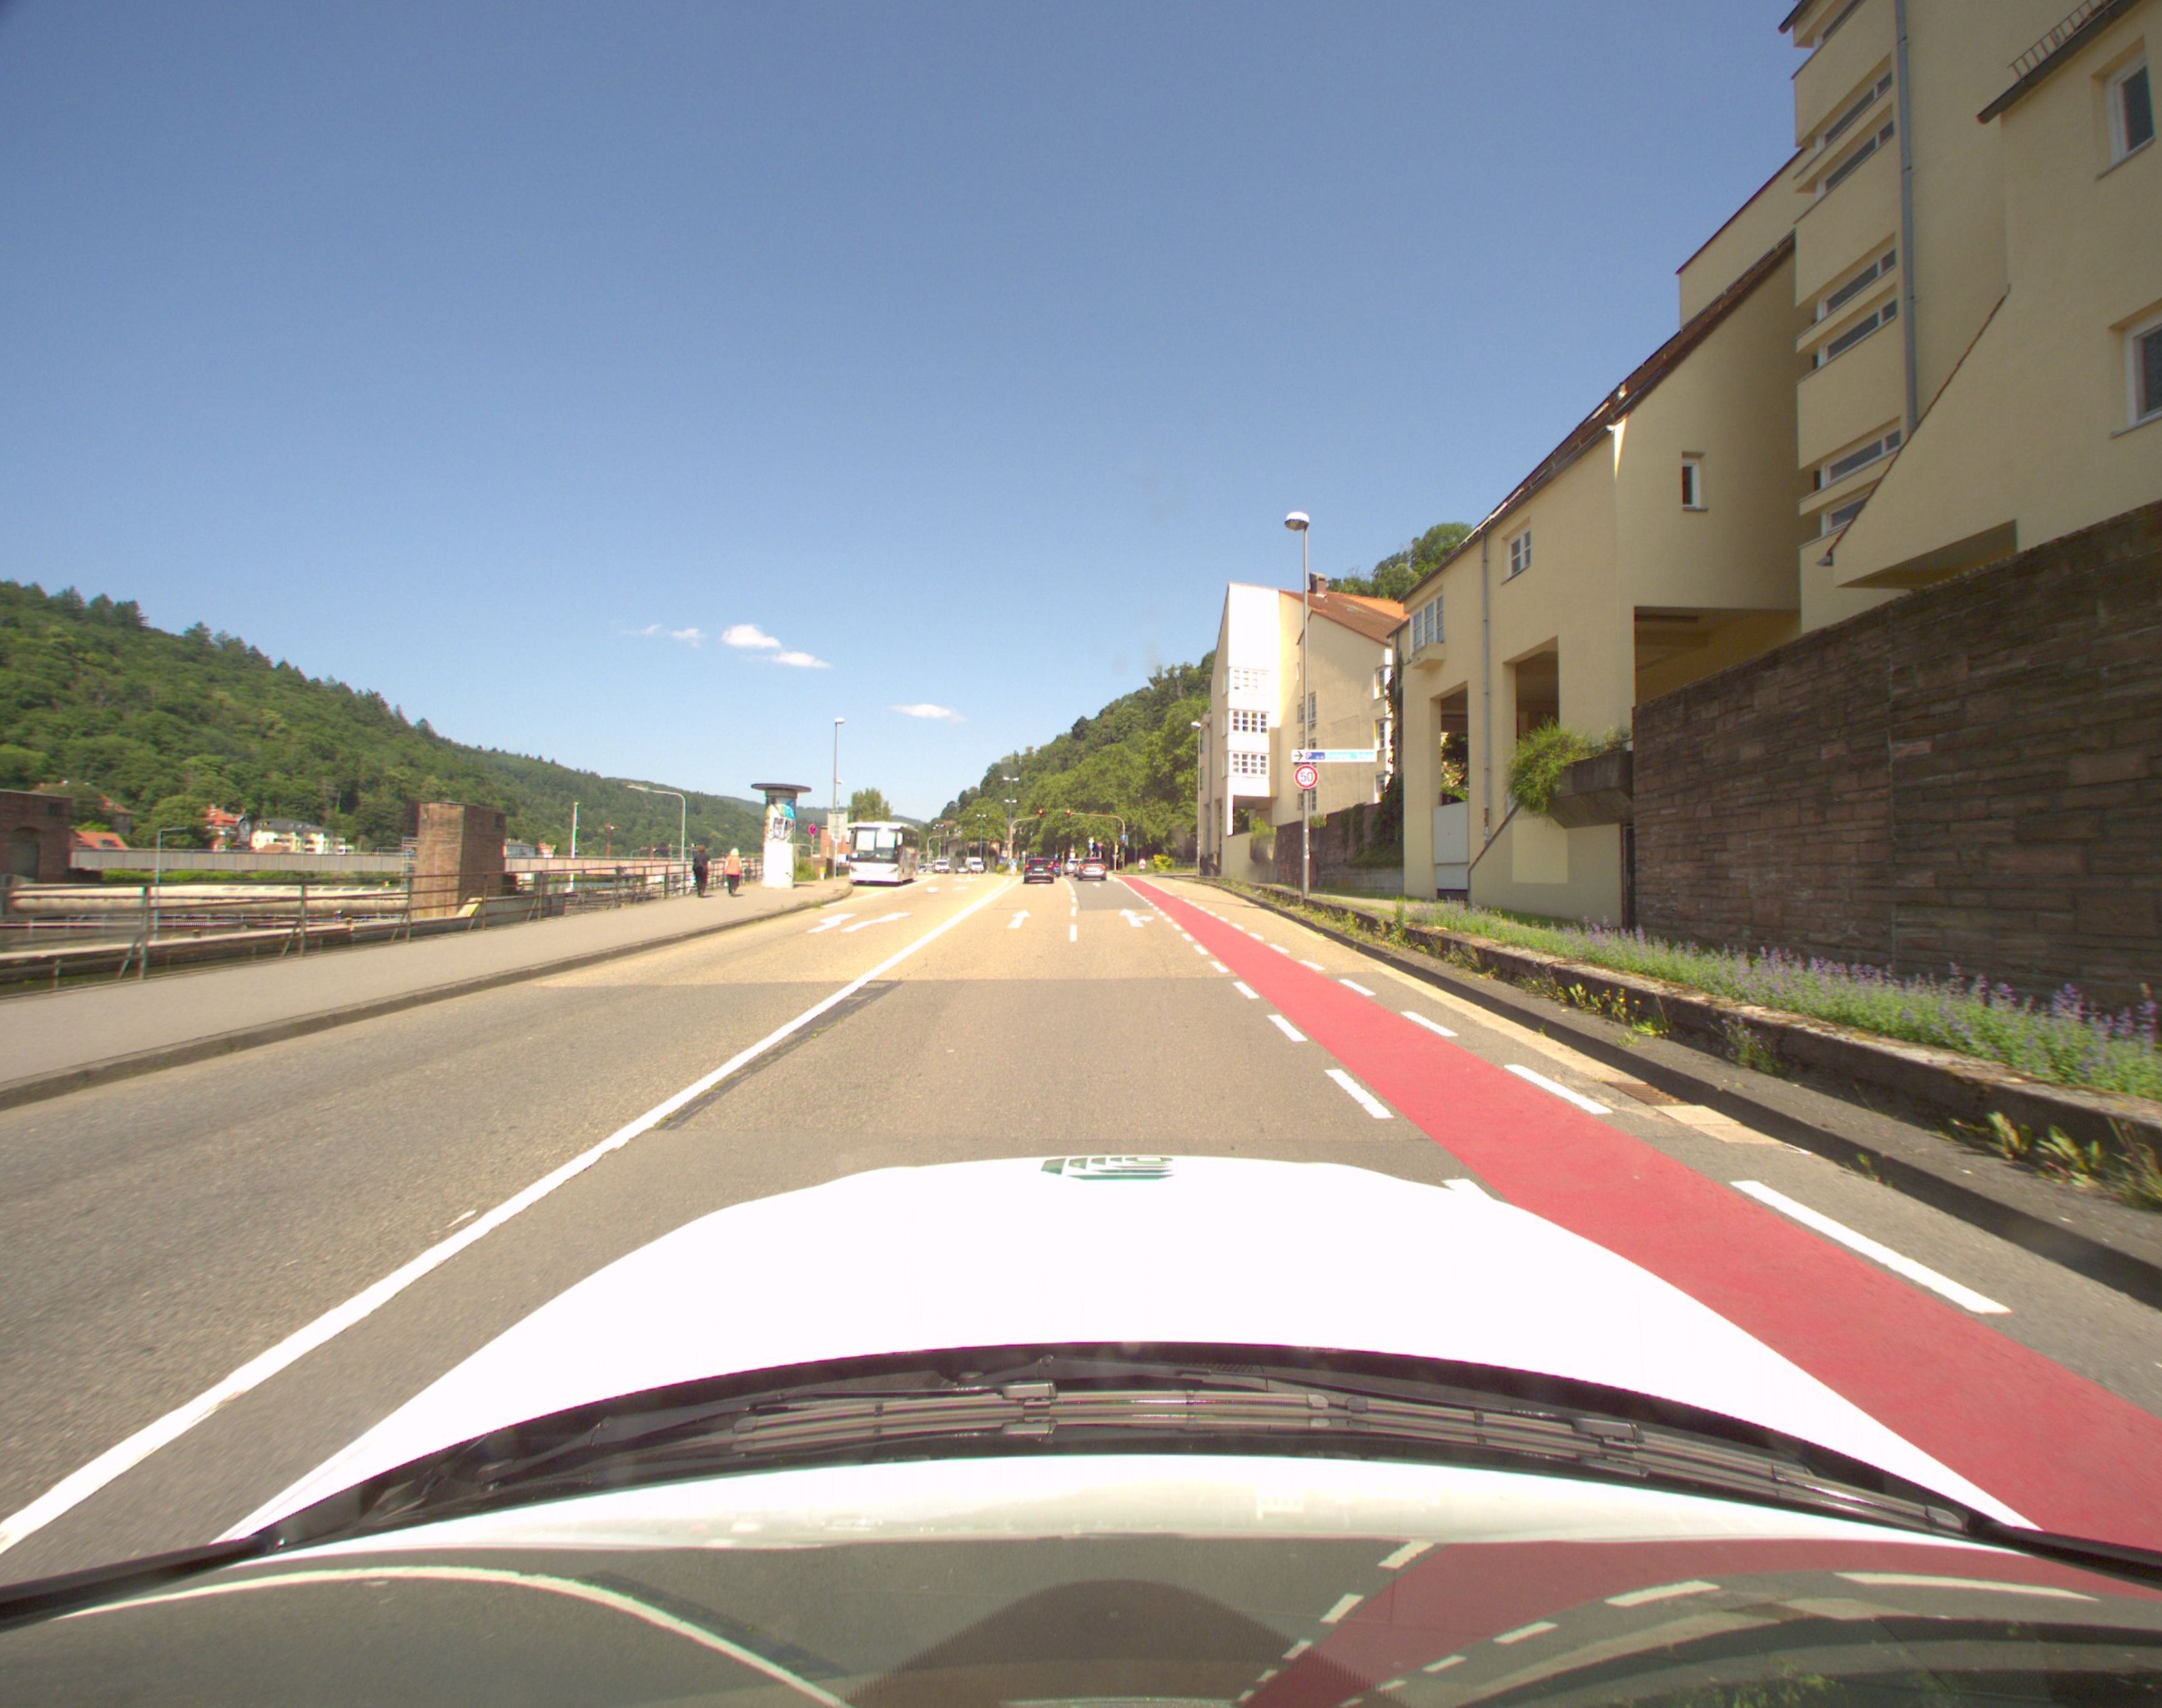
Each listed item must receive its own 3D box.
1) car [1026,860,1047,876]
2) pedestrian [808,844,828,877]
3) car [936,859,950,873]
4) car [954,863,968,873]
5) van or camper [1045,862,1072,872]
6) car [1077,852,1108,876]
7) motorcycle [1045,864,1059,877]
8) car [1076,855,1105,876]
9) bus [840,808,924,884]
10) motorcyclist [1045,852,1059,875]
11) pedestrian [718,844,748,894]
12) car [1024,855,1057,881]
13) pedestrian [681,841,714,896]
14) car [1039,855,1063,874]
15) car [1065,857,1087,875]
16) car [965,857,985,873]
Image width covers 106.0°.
[{"bbox_3d":[-4.075,1.282,74.952,1.863,1.359,3.994,-1,0,-4],"label":"car"},{"bbox_3d":[-14.580,0.387,45.176,0.891,1.796,1.038,0,-1,-8],"label":"pedestrian"},{"bbox_3d":[-21.708,1.829,127.961,2.214,2.078,5.026,-1,0,-10],"label":"car"},{"bbox_3d":[-18.999,2.212,128.889,1.995,1.432,4.149,-1,0,-13],"label":"car"},{"bbox_3d":[-4.168,2.423,151.525,4.509,1.902,2.008,-1,-1,14],"label":"van or camper"},{"bbox_3d":[0.741,0.687,54.420,1.883,1.521,4.303,1,-1,-1],"label":"car"},{"bbox_3d":[-2.141,1.217,61.073,1.035,0.919,2.603,-1,0,-2],"label":"motorcycle"},{"bbox_3d":[0.645,0.891,61.727,1.988,1.534,4.854,0,-1,-2],"label":"car"},{"bbox_3d":[-11.727,-0.370,49.460,2.953,3.801,13.214,4,-1,-6],"label":"bus"},{"bbox_3d":[-2.153,0.704,60.749,1.073,1.684,1.155,-1,-1,-2],"label":"motorcyclist"},{"bbox_3d":[-11.517,0.505,26.969,0.702,1.621,0.814,0,-1,-8],"label":"pedestrian"},{"bbox_3d":[-2.424,0.845,49.236,1.864,1.514,4.147,1,-1,-2],"label":"car"},{"bbox_3d":[-12.102,0.464,25.712,0.681,1.709,0.772,0,-1,-4],"label":"pedestrian"},{"bbox_3d":[-2.533,0.841,67.363,1.863,1.562,3.994,-1,0,-4],"label":"car"},{"bbox_3d":[-0.460,1.102,75.062,1.781,1.532,4.732,-3,-1,-3],"label":"car"},{"bbox_3d":[-17.617,1.896,135.441,2.389,2.576,6.019,-1,-1,-17],"label":"car"}]
